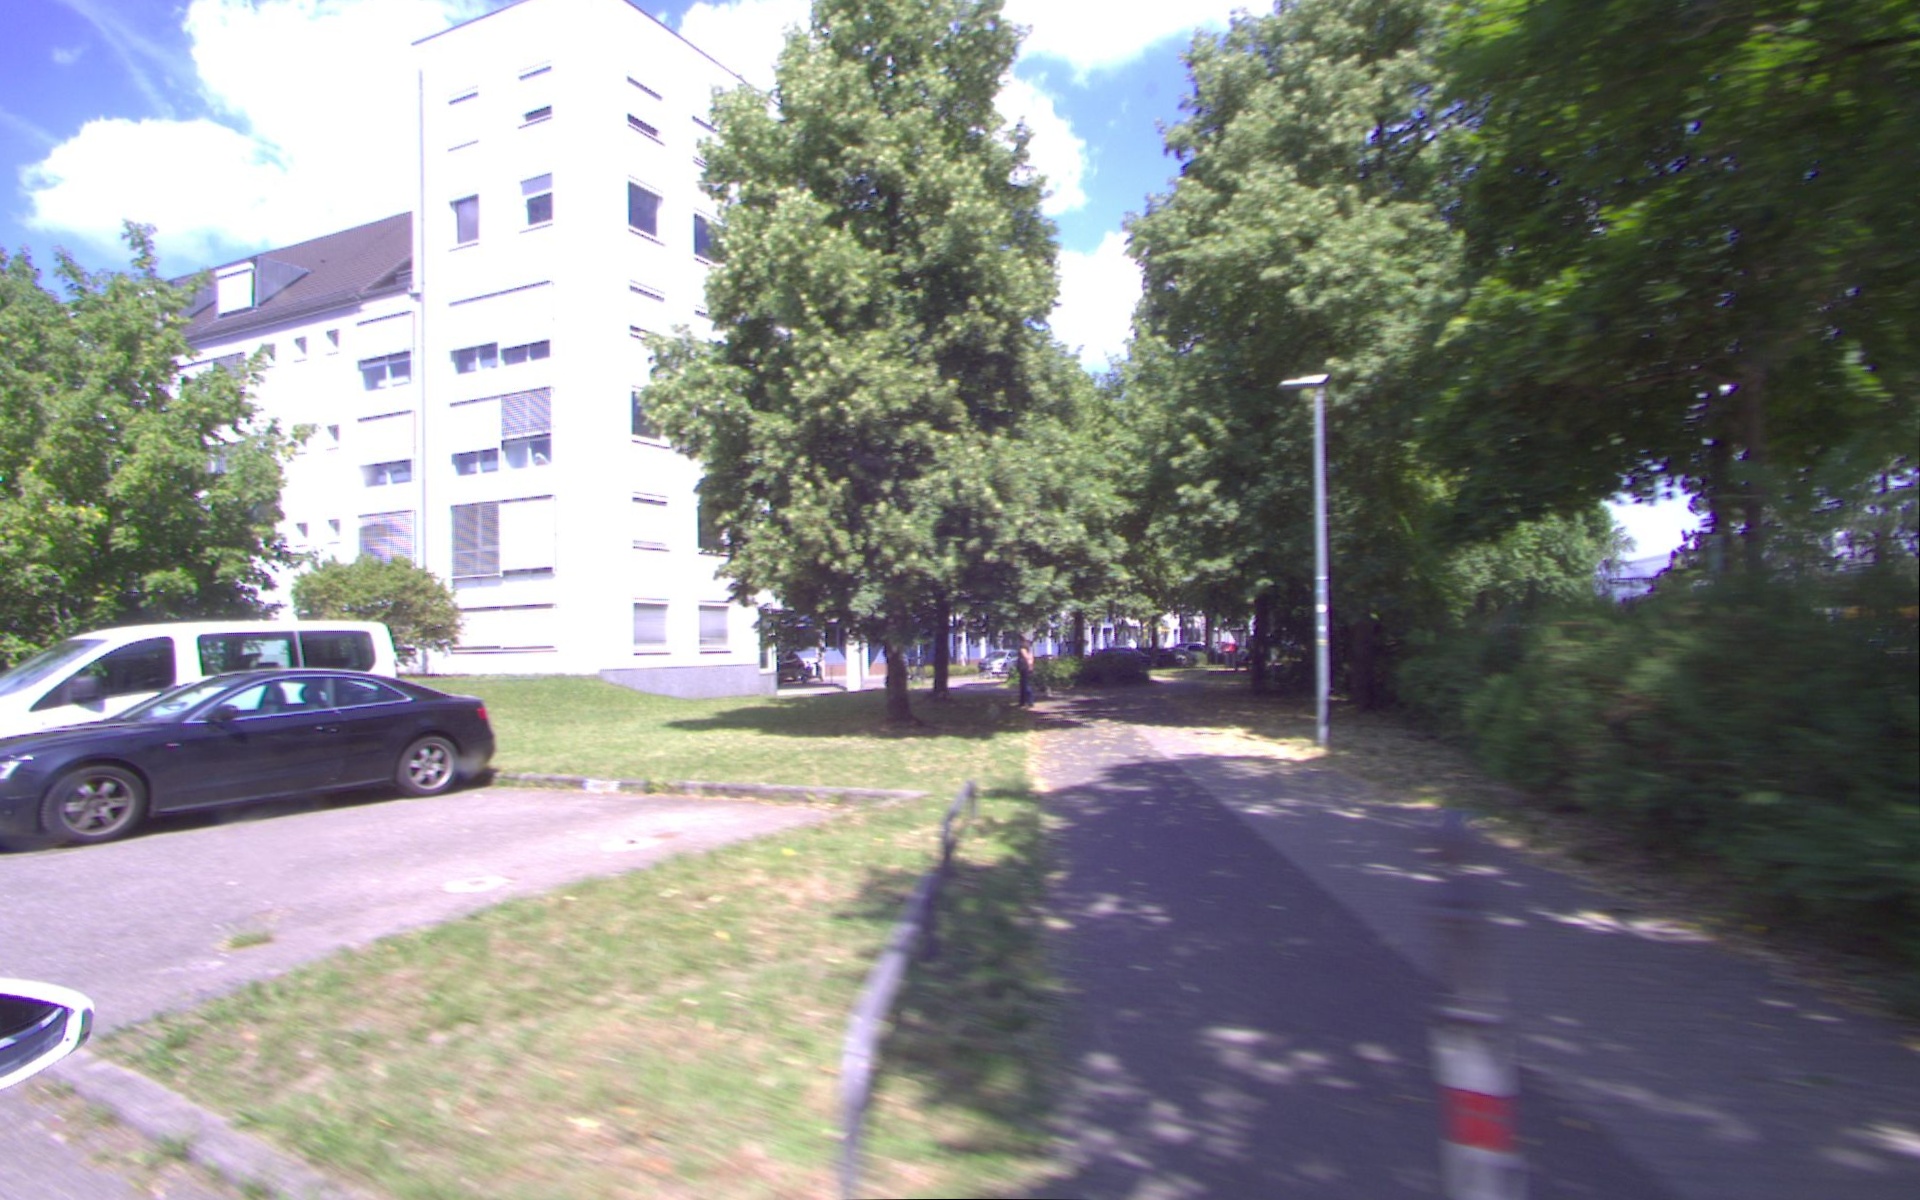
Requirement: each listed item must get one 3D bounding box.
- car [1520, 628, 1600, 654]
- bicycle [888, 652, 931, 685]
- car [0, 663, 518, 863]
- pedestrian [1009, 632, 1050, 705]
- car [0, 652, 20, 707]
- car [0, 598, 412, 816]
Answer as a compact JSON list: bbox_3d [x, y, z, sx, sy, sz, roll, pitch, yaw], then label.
[{"bbox_3d":[39.539,2.702,66.085,4.454,1.618,1.718,-2,-2,30],"label":"car"},{"bbox_3d":[-1.778,2.435,35.695,0.592,1.098,1.932,-1,-2,28],"label":"bicycle"},{"bbox_3d":[-6.880,1.357,9.682,1.807,1.369,4.606,-1,-2,30],"label":"car"},{"bbox_3d":[1.558,1.509,22.303,0.728,1.584,0.748,-1,-1,20],"label":"pedestrian"},{"bbox_3d":[-28.282,2.209,26.966,1.777,1.497,3.984,-2,-2,29],"label":"car"},{"bbox_3d":[-9.039,1.085,11.248,1.971,2.039,4.754,-2,-3,30],"label":"car"}]
